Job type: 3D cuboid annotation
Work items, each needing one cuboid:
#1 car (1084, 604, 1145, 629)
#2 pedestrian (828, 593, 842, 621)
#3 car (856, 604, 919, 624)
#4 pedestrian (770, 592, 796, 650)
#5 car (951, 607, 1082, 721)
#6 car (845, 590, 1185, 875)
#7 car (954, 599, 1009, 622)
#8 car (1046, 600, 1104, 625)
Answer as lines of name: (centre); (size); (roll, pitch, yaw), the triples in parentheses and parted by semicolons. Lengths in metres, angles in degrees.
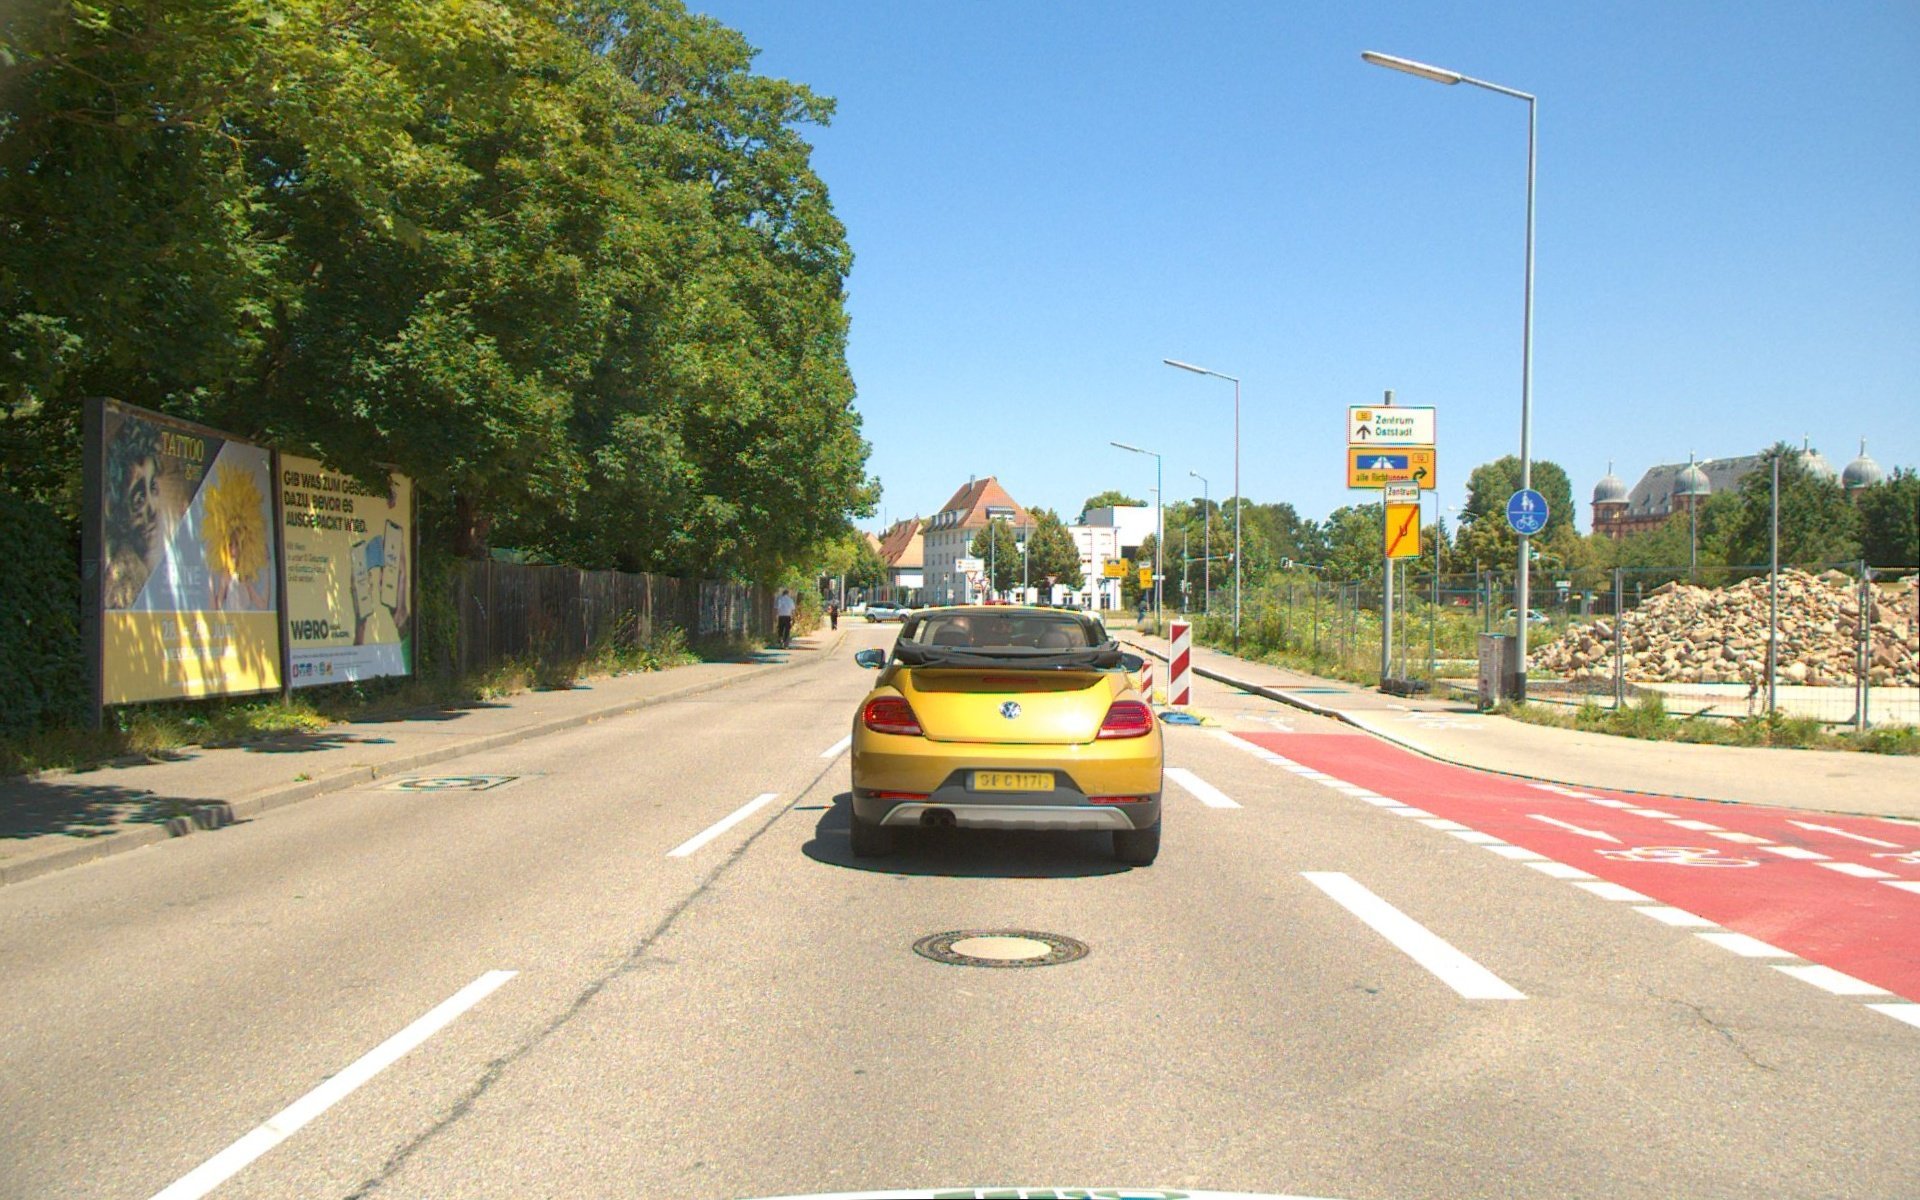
car: (10.437, 1.132, 111.891); (3.902, 1.641, 1.792); (-1, 0, 12)
pedestrian: (-6.696, 0.363, 88.359); (0.708, 1.480, 0.818); (0, 0, -2)
car: (-5.225, 1.023, 119.940); (4.345, 1.381, 1.538); (0, 0, 7)
pedestrian: (-5.389, 0.642, 50.399); (0.708, 1.755, 0.818); (0, 0, -2)
car: (0.806, 0.845, 23.486); (1.691, 1.468, 4.001); (0, 0, 2)
car: (0.296, 0.679, 10.475); (1.753, 1.462, 3.814); (0, 0, 0)
car: (1.672, 0.769, 126.361); (3.977, 1.706, 1.786); (0, 0, 7)
car: (8.180, 0.880, 117.351); (3.977, 1.706, 1.786); (0, 0, 9)
